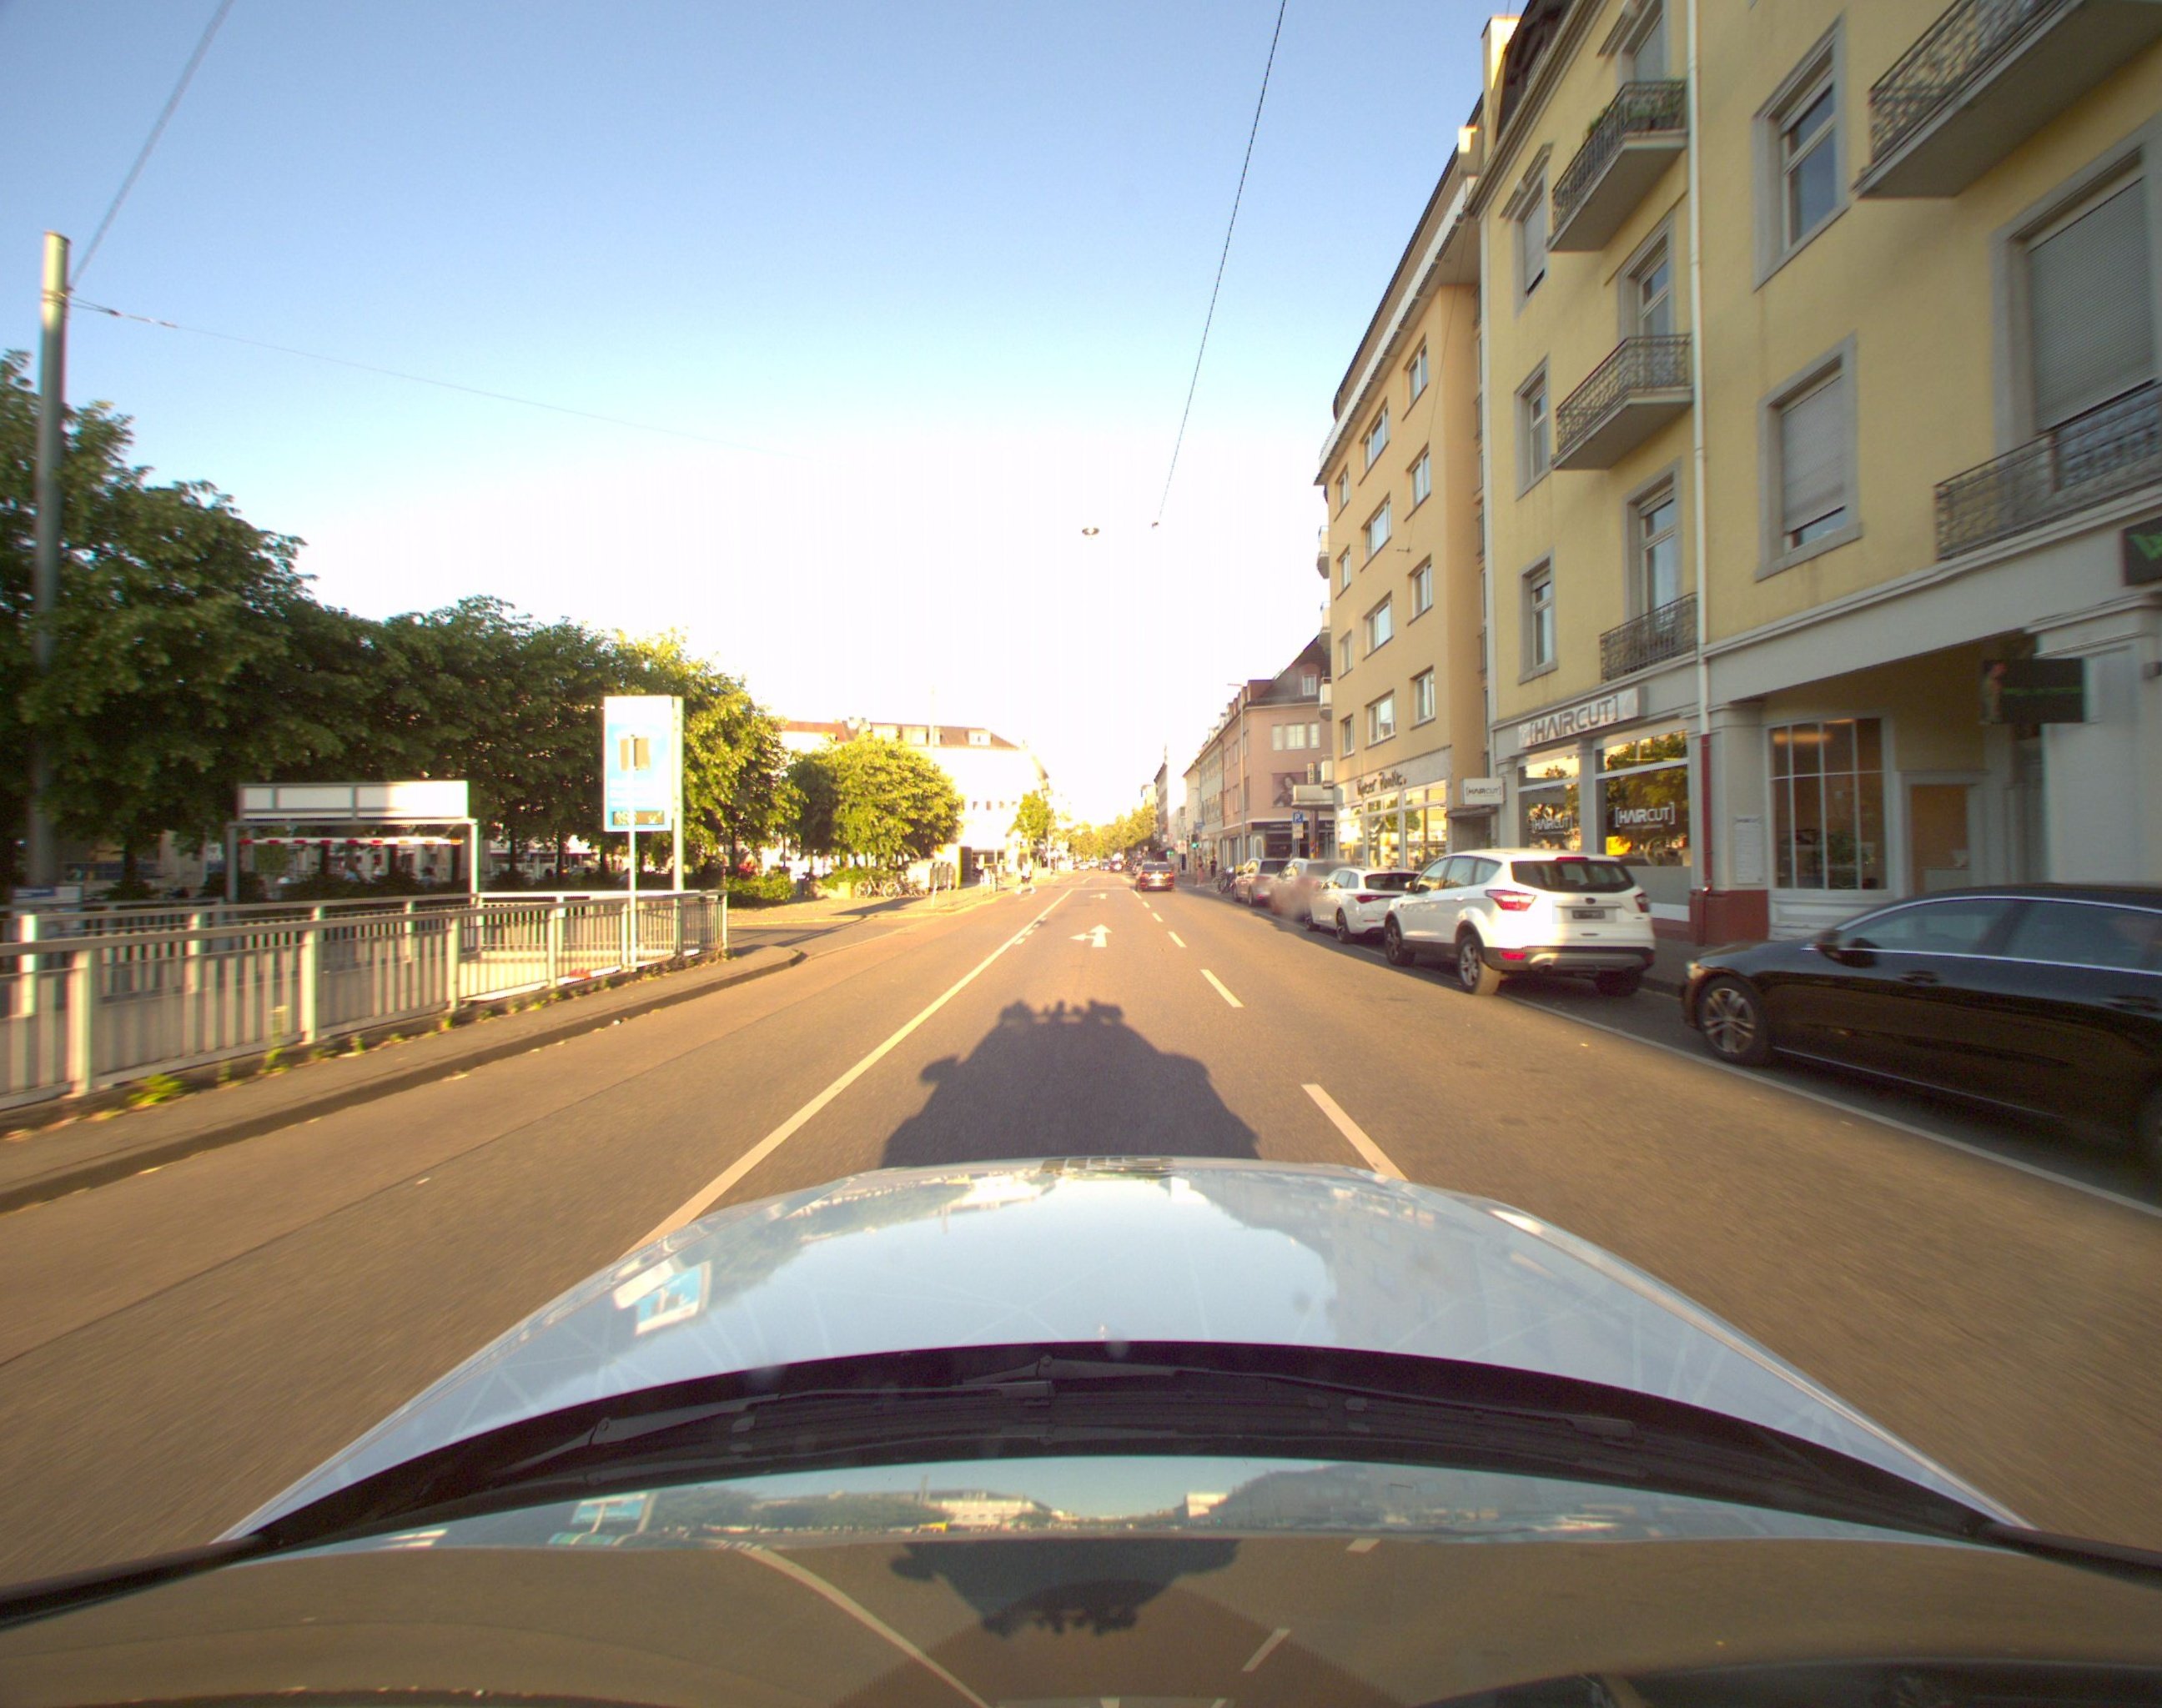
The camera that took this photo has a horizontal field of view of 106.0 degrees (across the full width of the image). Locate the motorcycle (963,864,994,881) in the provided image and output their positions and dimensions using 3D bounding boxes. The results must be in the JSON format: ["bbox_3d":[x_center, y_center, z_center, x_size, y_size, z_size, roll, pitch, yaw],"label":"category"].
[{"bbox_3d":[-8.400,1.512,66.982,2.404,1.426,1.113,-1,-1,1],"label":"motorcycle"}]

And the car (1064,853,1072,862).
[{"bbox_3d":[-3.256,0.869,201.504,1.820,2.014,3.679,0,0,3],"label":"car"}]

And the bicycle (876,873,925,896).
[{"bbox_3d":[-8.069,1.375,36.475,2.036,0.971,0.636,2,-1,-1],"label":"bicycle"}]

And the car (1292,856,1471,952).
[{"bbox_3d":[5.801,0.872,16.462,2.008,1.543,4.873,-1,1,2],"label":"car"}]

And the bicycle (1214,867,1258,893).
[{"bbox_3d":[6.937,1.162,36.478,1.879,1.112,0.521,0,-1,-2],"label":"bicycle"}]

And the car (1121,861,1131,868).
[{"bbox_3d":[10.276,2.405,185.900,1.888,1.596,3.998,0,-1,-1],"label":"car"}]

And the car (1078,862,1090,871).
[{"bbox_3d":[0.591,2.199,141.748,1.886,1.596,4.003,0,-1,3],"label":"car"}]

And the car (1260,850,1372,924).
[{"bbox_3d":[6.229,0.794,22.086,1.861,1.762,4.410,-1,1,2],"label":"car"}]

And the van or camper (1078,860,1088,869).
[{"bbox_3d":[0.469,2.672,212.206,2.466,2.405,3.997,0,-1,-2],"label":"van or camper"}]

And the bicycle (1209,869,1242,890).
[{"bbox_3d":[7.061,1.244,39.870,1.495,1.015,0.512,0,-1,-1],"label":"bicycle"}]

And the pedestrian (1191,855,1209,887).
[{"bbox_3d":[6.447,0.939,44.239,0.793,1.720,0.810,0,-1,-5],"label":"pedestrian"}]

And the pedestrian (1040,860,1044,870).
[{"bbox_3d":[-6.386,1.826,133.194,0.600,1.721,0.575,0,-1,-13],"label":"pedestrian"}]

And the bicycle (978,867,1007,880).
[{"bbox_3d":[-8.146,1.827,74.920,2.516,1.146,0.700,-1,-1,-1],"label":"bicycle"}]

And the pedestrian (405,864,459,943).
[{"bbox_3d":[-16.442,1.232,20.647,0.796,1.948,0.733,-1,-1,14],"label":"pedestrian"}]

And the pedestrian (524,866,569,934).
[{"bbox_3d":[-15.531,1.321,23.685,0.796,1.948,0.733,-1,-1,14],"label":"pedestrian"}]

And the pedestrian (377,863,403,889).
[{"bbox_3d":[-40.003,1.268,47.153,0.983,1.501,0.980,0,-1,-30],"label":"pedestrian"}]

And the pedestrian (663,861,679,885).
[{"bbox_3d":[-30.072,1.378,59.751,0.885,1.778,0.714,-2,-1,40],"label":"pedestrian"}]

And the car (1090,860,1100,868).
[{"bbox_3d":[2.977,2.147,172.554,1.985,1.750,4.003,0,-1,3],"label":"car"}]

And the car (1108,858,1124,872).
[{"bbox_3d":[4.456,1.382,104.562,1.986,1.750,4.002,0,0,2],"label":"car"}]

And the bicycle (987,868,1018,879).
[{"bbox_3d":[-7.648,1.923,79.264,2.929,1.022,0.844,-1,-1,4],"label":"bicycle"}]

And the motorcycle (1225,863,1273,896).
[{"bbox_3d":[6.907,1.047,33.572,1.807,1.263,0.715,-2,-1,-1],"label":"motorcycle"}]

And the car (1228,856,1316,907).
[{"bbox_3d":[6.497,0.896,28.270,1.987,1.613,4.803,-1,-1,1],"label":"car"}]

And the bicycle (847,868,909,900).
[{"bbox_3d":[-8.414,1.228,33.704,2.481,1.284,0.820,0,-1,22],"label":"bicycle"}]

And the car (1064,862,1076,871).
[{"bbox_3d":[-2.025,2.345,154.335,1.886,1.596,4.003,0,-1,3],"label":"car"}]

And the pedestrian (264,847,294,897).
[{"bbox_3d":[-31.256,0.691,31.737,0.734,1.948,0.795,0,-1,-38],"label":"pedestrian"}]

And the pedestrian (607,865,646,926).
[{"bbox_3d":[-14.707,1.331,26.369,0.796,1.948,0.733,-1,-1,14],"label":"pedestrian"}]

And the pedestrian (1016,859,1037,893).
[{"bbox_3d":[-2.771,1.121,41.465,0.872,1.720,0.754,0,-1,-23],"label":"pedestrian"}]

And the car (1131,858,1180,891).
[{"bbox_3d":[3.561,0.953,39.411,1.883,1.492,4.201,0,-1,-2],"label":"car"}]

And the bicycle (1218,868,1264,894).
[{"bbox_3d":[7.017,1.175,35.718,1.879,1.113,0.593,0,-2,-2],"label":"bicycle"}]

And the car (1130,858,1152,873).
[{"bbox_3d":[6.567,1.261,89.376,2.325,1.604,3.896,0,0,2],"label":"car"}]

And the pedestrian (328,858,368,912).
[{"bbox_3d":[-26.756,1.128,29.726,0.797,1.948,0.732,-1,-1,9],"label":"pedestrian"}]

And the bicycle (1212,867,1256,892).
[{"bbox_3d":[6.934,1.138,37.019,1.878,1.112,0.601,0,-1,-1],"label":"bicycle"}]

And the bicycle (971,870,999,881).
[{"bbox_3d":[-8.285,1.864,70.074,2.320,0.919,0.700,-1,-1,-1],"label":"bicycle"}]

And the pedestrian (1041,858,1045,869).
[{"bbox_3d":[-6.152,1.521,131.457,0.681,1.721,0.702,0,-1,2],"label":"pedestrian"}]

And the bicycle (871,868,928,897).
[{"bbox_3d":[-7.998,1.255,35.889,2.423,1.237,0.462,0,-1,-1],"label":"bicycle"}]

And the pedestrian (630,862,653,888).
[{"bbox_3d":[-31.046,1.463,57.550,0.700,1.778,1.201,-1,-1,37],"label":"pedestrian"}]

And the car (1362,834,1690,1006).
[{"bbox_3d":[5.376,0.647,10.697,1.875,1.745,4.661,-1,1,2],"label":"car"}]

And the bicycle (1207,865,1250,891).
[{"bbox_3d":[6.861,1.111,37.975,1.879,1.167,0.722,-1,-1,-2],"label":"bicycle"}]

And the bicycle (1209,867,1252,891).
[{"bbox_3d":[7.116,1.186,38.778,1.879,1.112,0.761,0,-1,-2],"label":"bicycle"}]

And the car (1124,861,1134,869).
[{"bbox_3d":[10.208,2.317,172.967,1.775,1.596,3.633,0,-1,-1],"label":"car"}]

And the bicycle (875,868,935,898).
[{"bbox_3d":[-7.594,1.233,35.197,2.423,1.237,0.517,1,-1,-1],"label":"bicycle"}]

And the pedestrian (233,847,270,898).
[{"bbox_3d":[-31.916,0.694,31.337,0.807,1.948,0.681,0,-1,-28],"label":"pedestrian"}]

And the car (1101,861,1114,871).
[{"bbox_3d":[4.167,1.848,126.941,1.877,1.486,4.003,0,0,3],"label":"car"}]

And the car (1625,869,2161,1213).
[{"bbox_3d":[5.714,0.838,4.752,1.986,1.434,4.852,0,0,2],"label":"car"}]

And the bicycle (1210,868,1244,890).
[{"bbox_3d":[7.050,1.200,39.382,1.496,1.026,0.512,-2,-1,-3],"label":"bicycle"}]

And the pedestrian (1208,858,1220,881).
[{"bbox_3d":[10.466,1.223,63.977,0.755,1.777,1.047,0,-1,-3],"label":"pedestrian"}]

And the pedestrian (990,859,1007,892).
[{"bbox_3d":[-4.363,1.112,42.956,0.882,1.720,0.713,0,-1,-10],"label":"pedestrian"}]
